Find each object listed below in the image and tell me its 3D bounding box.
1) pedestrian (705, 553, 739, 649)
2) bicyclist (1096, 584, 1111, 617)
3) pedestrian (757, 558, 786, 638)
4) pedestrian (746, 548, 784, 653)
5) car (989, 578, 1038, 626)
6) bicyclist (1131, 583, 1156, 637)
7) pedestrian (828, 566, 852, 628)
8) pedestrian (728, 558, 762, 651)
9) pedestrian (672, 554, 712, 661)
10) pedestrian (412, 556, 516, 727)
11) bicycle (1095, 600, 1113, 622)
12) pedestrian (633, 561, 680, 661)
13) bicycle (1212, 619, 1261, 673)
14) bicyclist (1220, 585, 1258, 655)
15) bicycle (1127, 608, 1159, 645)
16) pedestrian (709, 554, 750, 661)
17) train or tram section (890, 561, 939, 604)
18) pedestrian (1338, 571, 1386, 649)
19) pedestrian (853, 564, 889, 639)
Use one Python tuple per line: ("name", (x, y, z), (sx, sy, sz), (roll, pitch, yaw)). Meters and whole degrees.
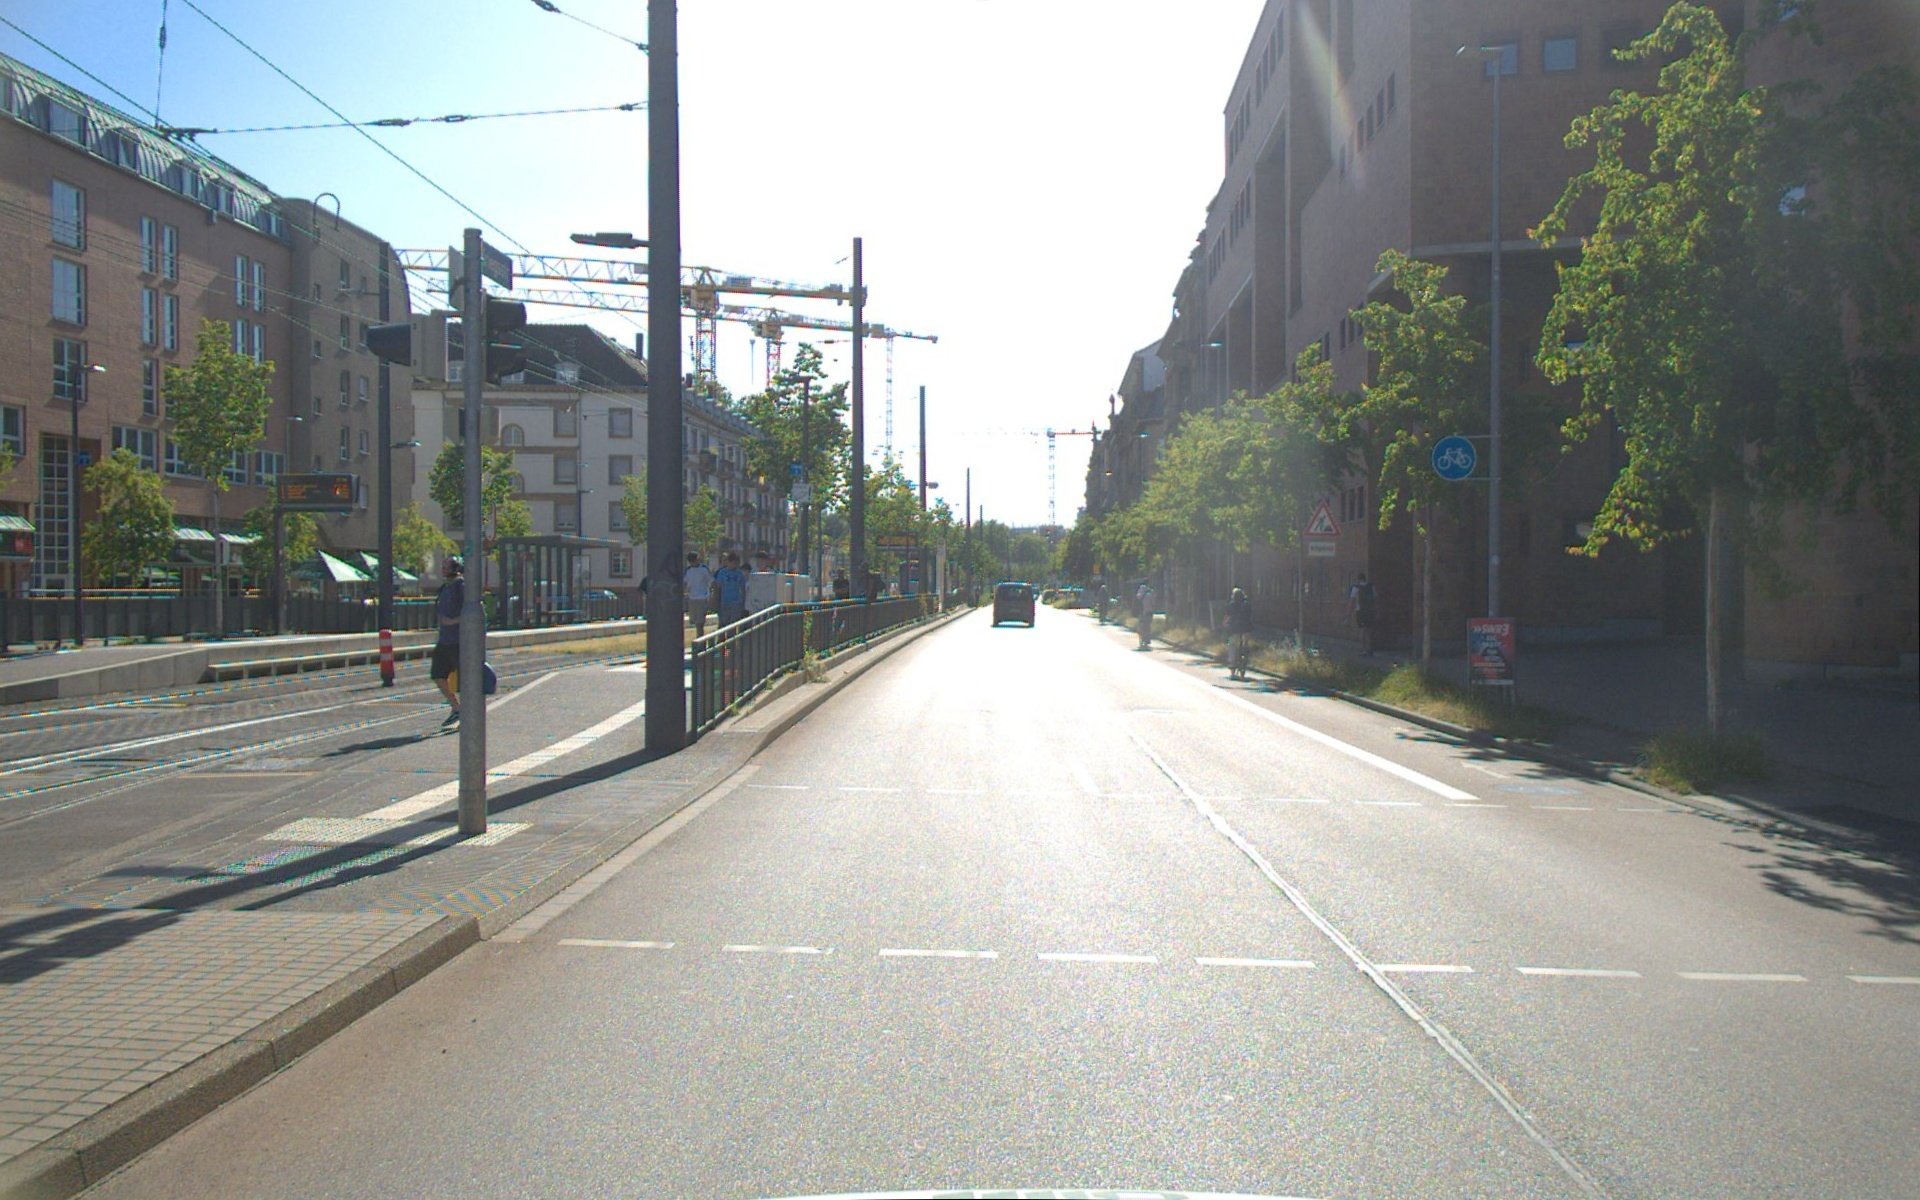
("pedestrian", (-4.492, 0.017, 31.207), (0.527, 1.804, 0.633), (0, 0, 0))
("bicyclist", (6.860, 0.019, 79.211), (0.653, 1.553, 0.707), (0, 0, -1))
("pedestrian", (-4.018, -0.039, 35.222), (0.527, 1.684, 0.633), (0, 0, 0))
("pedestrian", (-3.175, 0.008, 26.942), (0.527, 1.684, 0.706), (0, 0, 0))
("car", (2.248, 0.070, 70.305), (1.953, 1.982, 4.000), (-1, 0, 0))
("bicyclist", (5.325, 0.298, 48.111), (0.653, 1.553, 0.707), (0, 0, -1))
("pedestrian", (-3.272, -0.079, 45.030), (0.588, 1.684, 0.666), (0, 0, -1))
("pedestrian", (-3.686, 0.078, 28.404), (0.508, 1.578, 0.600), (0, 0, -3))
("pedestrian", (-4.253, 0.116, 26.298), (0.500, 1.684, 0.761), (0, 0, 0))
("pedestrian", (-5.172, 0.414, 17.245), (0.852, 1.698, 0.610), (-4, 1, -29))
("bicycle", (6.877, 0.509, 79.108), (0.653, 1.002, 2.586), (0, 0, 0))
("pedestrian", (-4.890, 0.170, 26.689), (0.588, 1.594, 0.914), (0, 0, 0))
("bicycle", (5.474, 0.897, 32.836), (0.590, 1.002, 2.314), (0, 0, 0))
("bicyclist", (5.467, 0.379, 32.456), (0.580, 1.359, 0.933), (0, 0, 0))
("bicycle", (5.331, 0.765, 48.260), (0.653, 1.002, 2.586), (0, 0, 0))
("pedestrian", (-3.720, 0.118, 26.696), (0.527, 1.684, 0.896), (0, 0, 0))
("train or tram section", (-3.387, -1.383, 126.471), (2.277, 3.055, 13.168), (1, 1, 4))
("pedestrian", (9.103, 0.216, 37.484), (0.862, 1.747, 0.931), (0, 0, -1))
("pedestrian", (-2.102, 0.030, 39.090), (0.705, 1.765, 0.599), (-1, 0, -17))
